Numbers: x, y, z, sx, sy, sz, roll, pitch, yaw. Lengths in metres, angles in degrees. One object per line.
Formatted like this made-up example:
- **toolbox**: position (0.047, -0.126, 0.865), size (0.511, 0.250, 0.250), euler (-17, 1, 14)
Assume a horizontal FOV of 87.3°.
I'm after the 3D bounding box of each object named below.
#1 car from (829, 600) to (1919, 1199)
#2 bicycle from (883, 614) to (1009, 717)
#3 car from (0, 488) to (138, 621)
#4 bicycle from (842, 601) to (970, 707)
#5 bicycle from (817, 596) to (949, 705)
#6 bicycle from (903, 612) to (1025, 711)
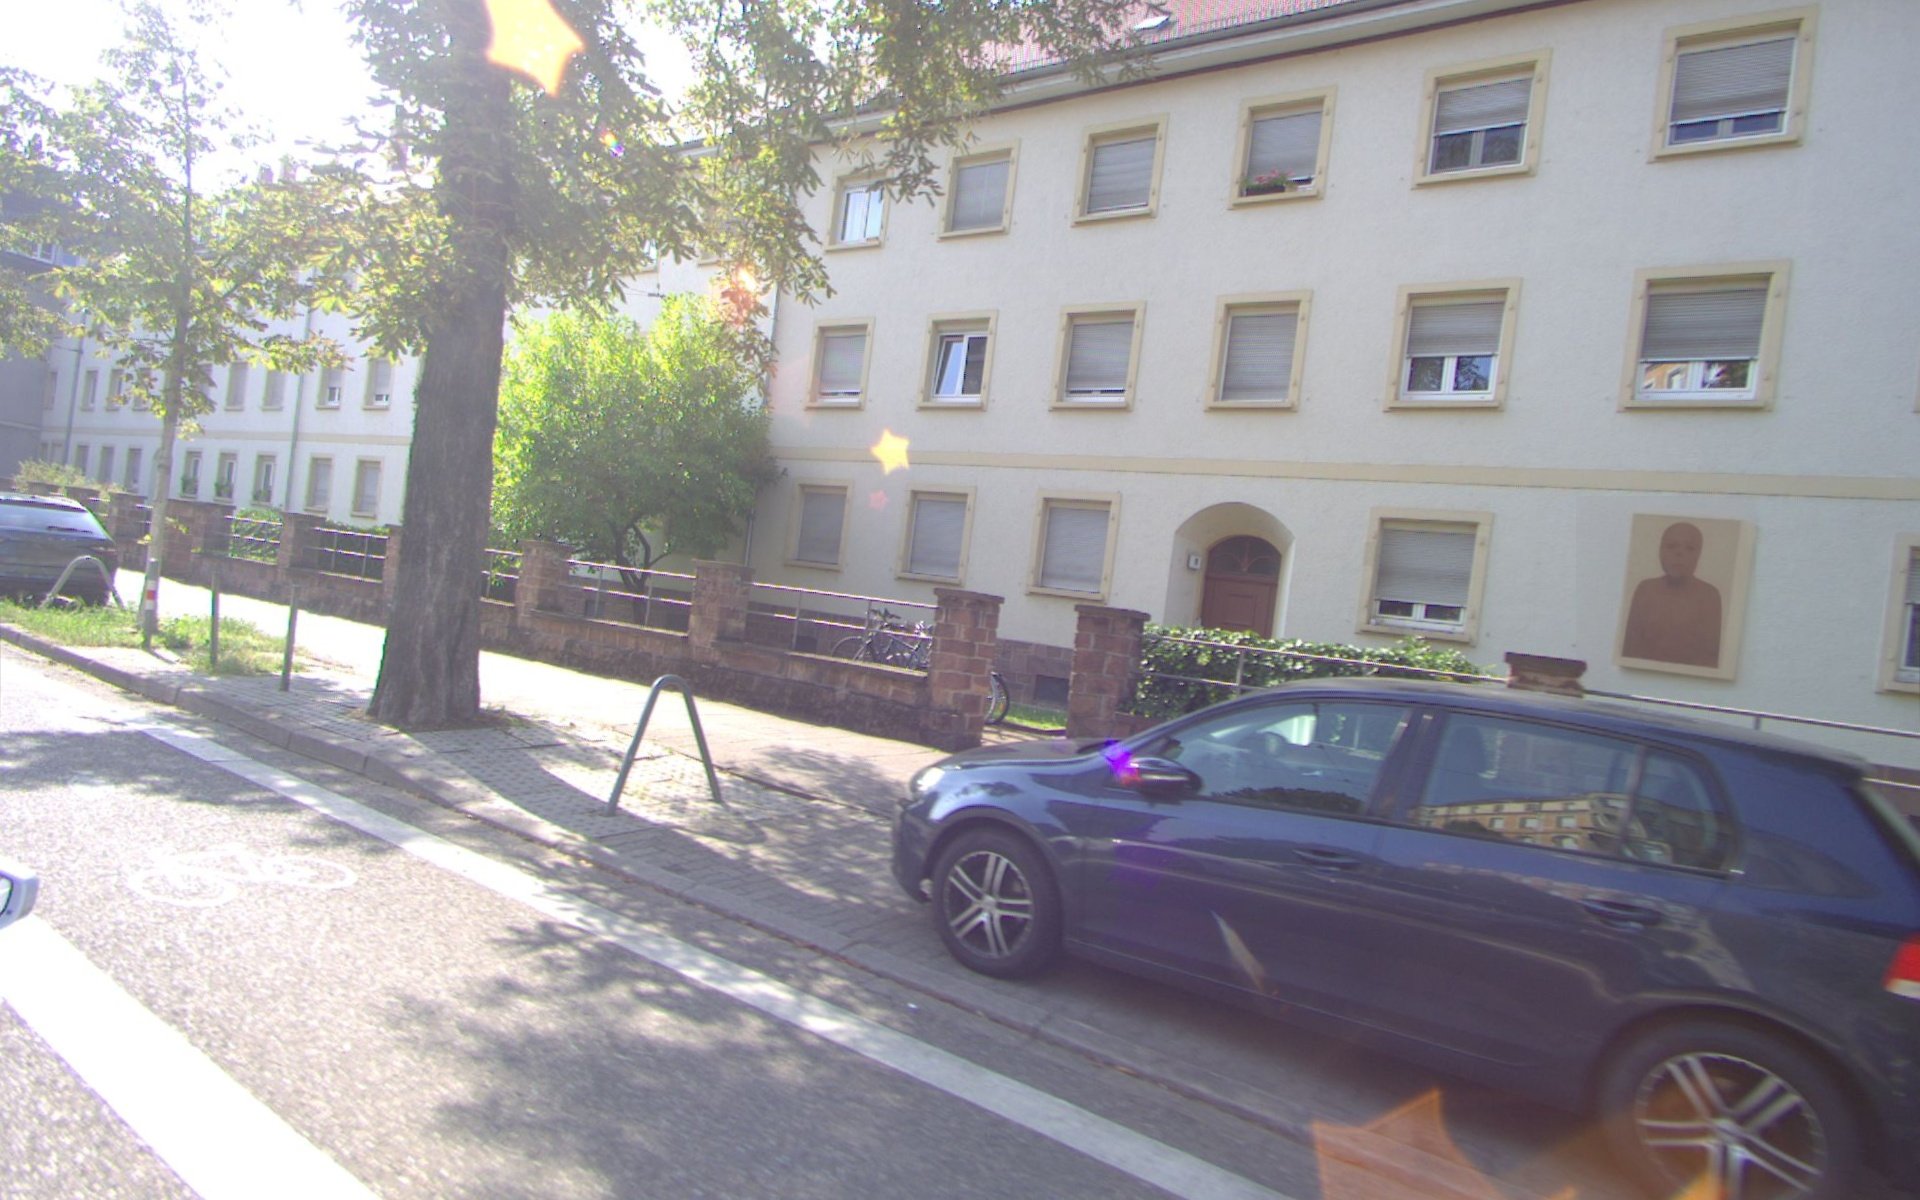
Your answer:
- **car**: position (1.598, 0.995, 4.310), size (4.028, 1.522, 1.690), euler (7, 1, 32)
- **bicycle**: position (-0.189, 0.795, 12.502), size (1.464, 1.073, 0.416), euler (7, 0, 33)
- **car**: position (-13.687, -0.800, 14.270), size (4.642, 1.580, 1.745), euler (7, 0, 33)
- **bicycle**: position (-0.663, 0.632, 12.047), size (1.464, 1.073, 0.416), euler (7, 0, 33)
- **bicycle**: position (-0.913, 0.572, 11.672), size (1.464, 1.073, 0.416), euler (7, 0, 33)
- **bicycle**: position (0.042, 0.774, 12.905), size (1.464, 1.073, 0.416), euler (7, 0, 33)
